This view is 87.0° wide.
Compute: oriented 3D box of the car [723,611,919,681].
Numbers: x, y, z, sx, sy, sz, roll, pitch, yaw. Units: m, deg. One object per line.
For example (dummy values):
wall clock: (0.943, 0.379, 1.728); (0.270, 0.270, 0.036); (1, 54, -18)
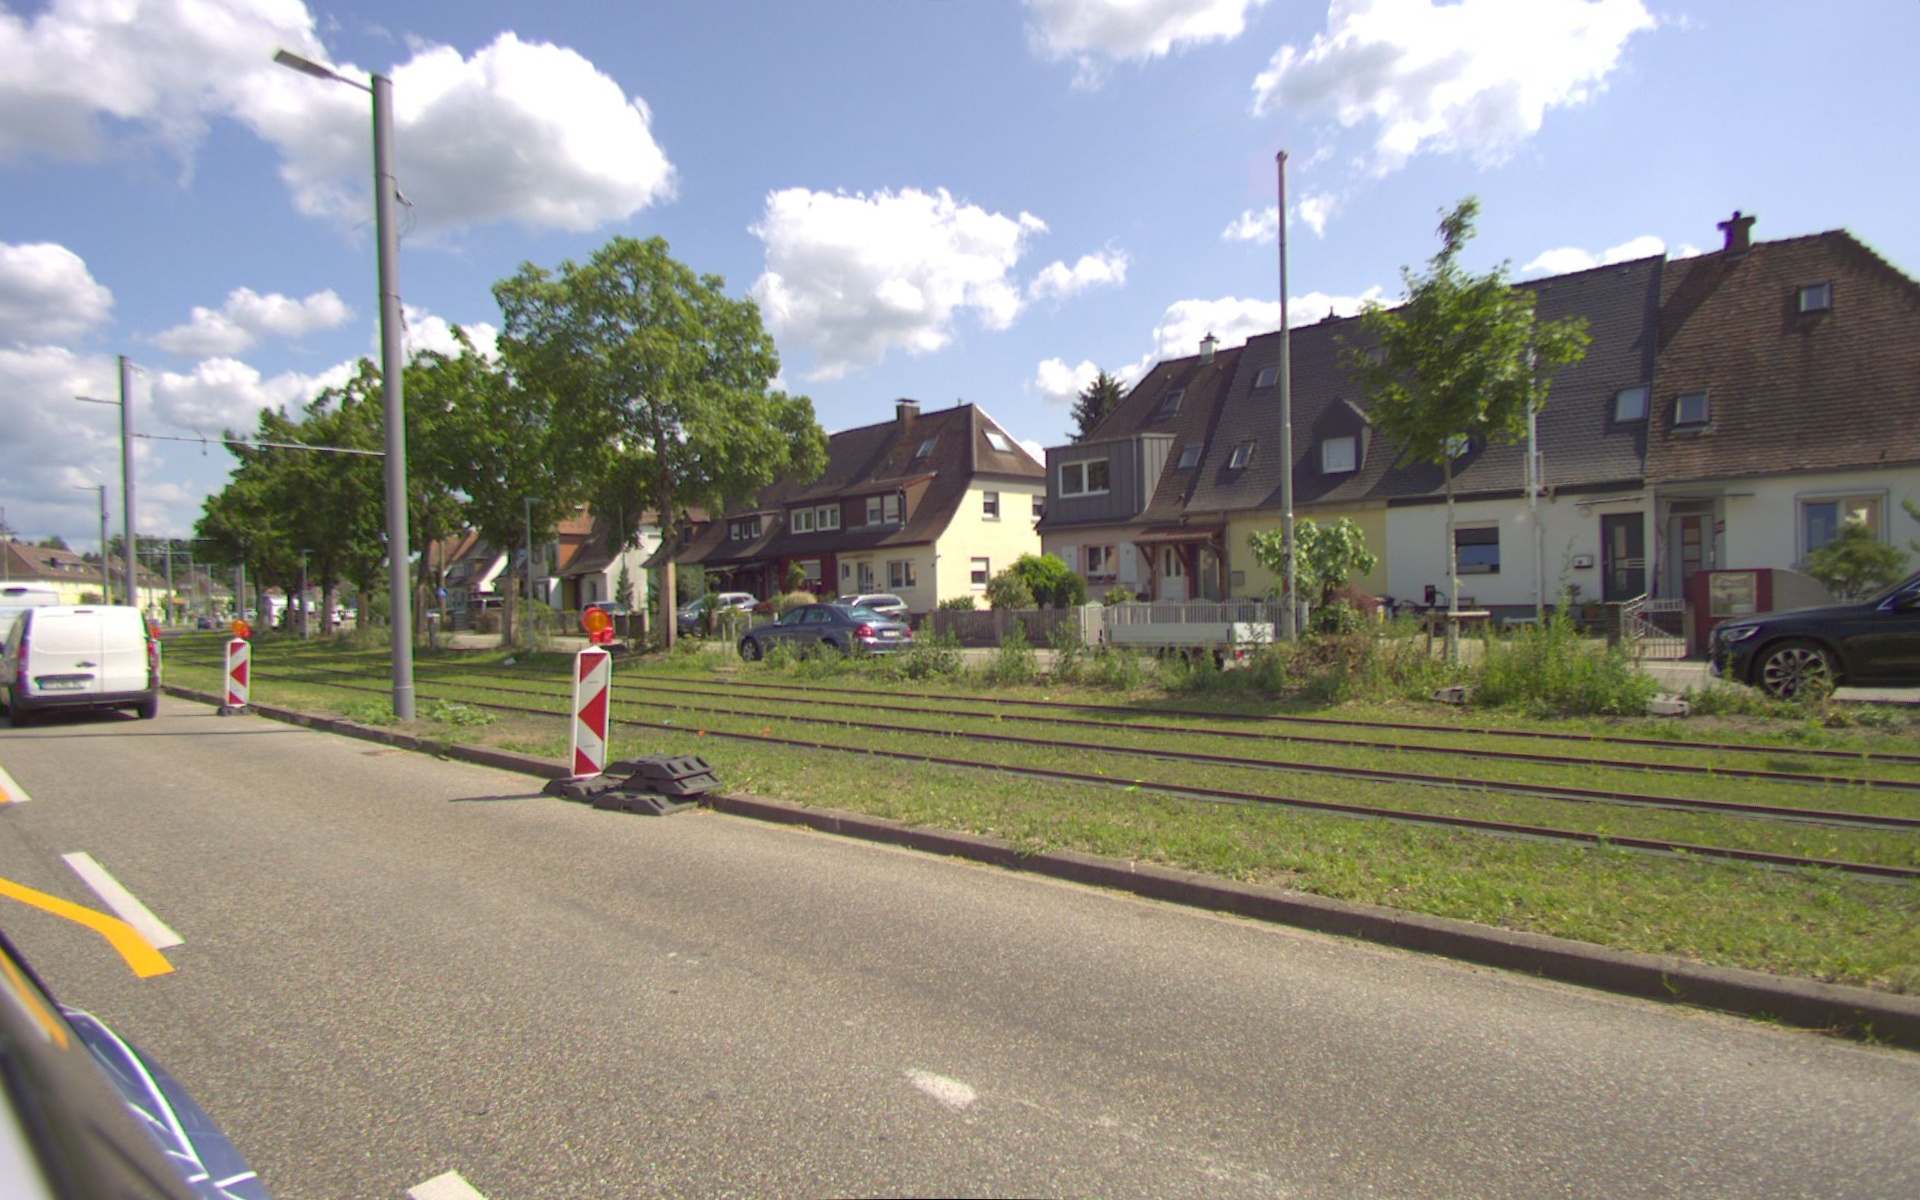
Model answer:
car: (-3.285, 1.007, 23.245); (4.812, 1.416, 1.800); (-2, 0, 43)

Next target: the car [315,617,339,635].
car: (-65.854, 2.703, 105.194); (1.856, 1.781, 5.096); (-1, 0, -35)

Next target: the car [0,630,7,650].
car: (-74.908, 3.103, 77.861); (1.726, 1.509, 4.396); (0, -1, -35)

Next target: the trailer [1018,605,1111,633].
trailer: (4.387, 0.784, 42.004); (1.869, 1.033, 3.944); (-2, 0, 42)

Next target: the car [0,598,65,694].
car: (-26.465, 1.239, 28.057); (5.573, 2.462, 2.079); (-2, 0, 45)

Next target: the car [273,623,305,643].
car: (-50.711, 2.503, 76.555); (1.827, 1.398, 4.822); (-1, 0, -32)

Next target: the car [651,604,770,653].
car: (-10.360, 1.164, 42.254); (2.065, 1.850, 4.422); (-2, 0, 43)

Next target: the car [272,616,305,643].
car: (-54.220, 2.351, 81.672); (1.967, 2.029, 4.915); (-1, 0, -36)

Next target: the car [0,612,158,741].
car: (-14.602, 1.142, 16.405); (4.305, 1.787, 1.717); (-2, 0, 41)

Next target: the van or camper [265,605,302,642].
van or camper: (-58.191, 1.972, 87.004); (2.344, 2.992, 7.313); (-1, -1, -36)

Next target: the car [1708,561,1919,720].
car: (10.698, 0.412, 10.555); (4.562, 1.599, 1.793); (-2, -2, 39)

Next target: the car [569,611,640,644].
car: (-17.631, 1.379, 50.137); (4.045, 1.529, 1.709); (-2, 0, 44)

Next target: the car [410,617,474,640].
car: (-38.960, 2.125, 76.118); (3.938, 1.542, 1.876); (-2, 0, -42)

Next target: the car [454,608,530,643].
car: (-29.351, 1.573, 63.587); (1.935, 1.911, 3.858); (-2, 1, 29)

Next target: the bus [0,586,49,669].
bus: (-43.926, 1.289, 46.184); (12.251, 3.438, 2.606); (-2, -2, 44)
